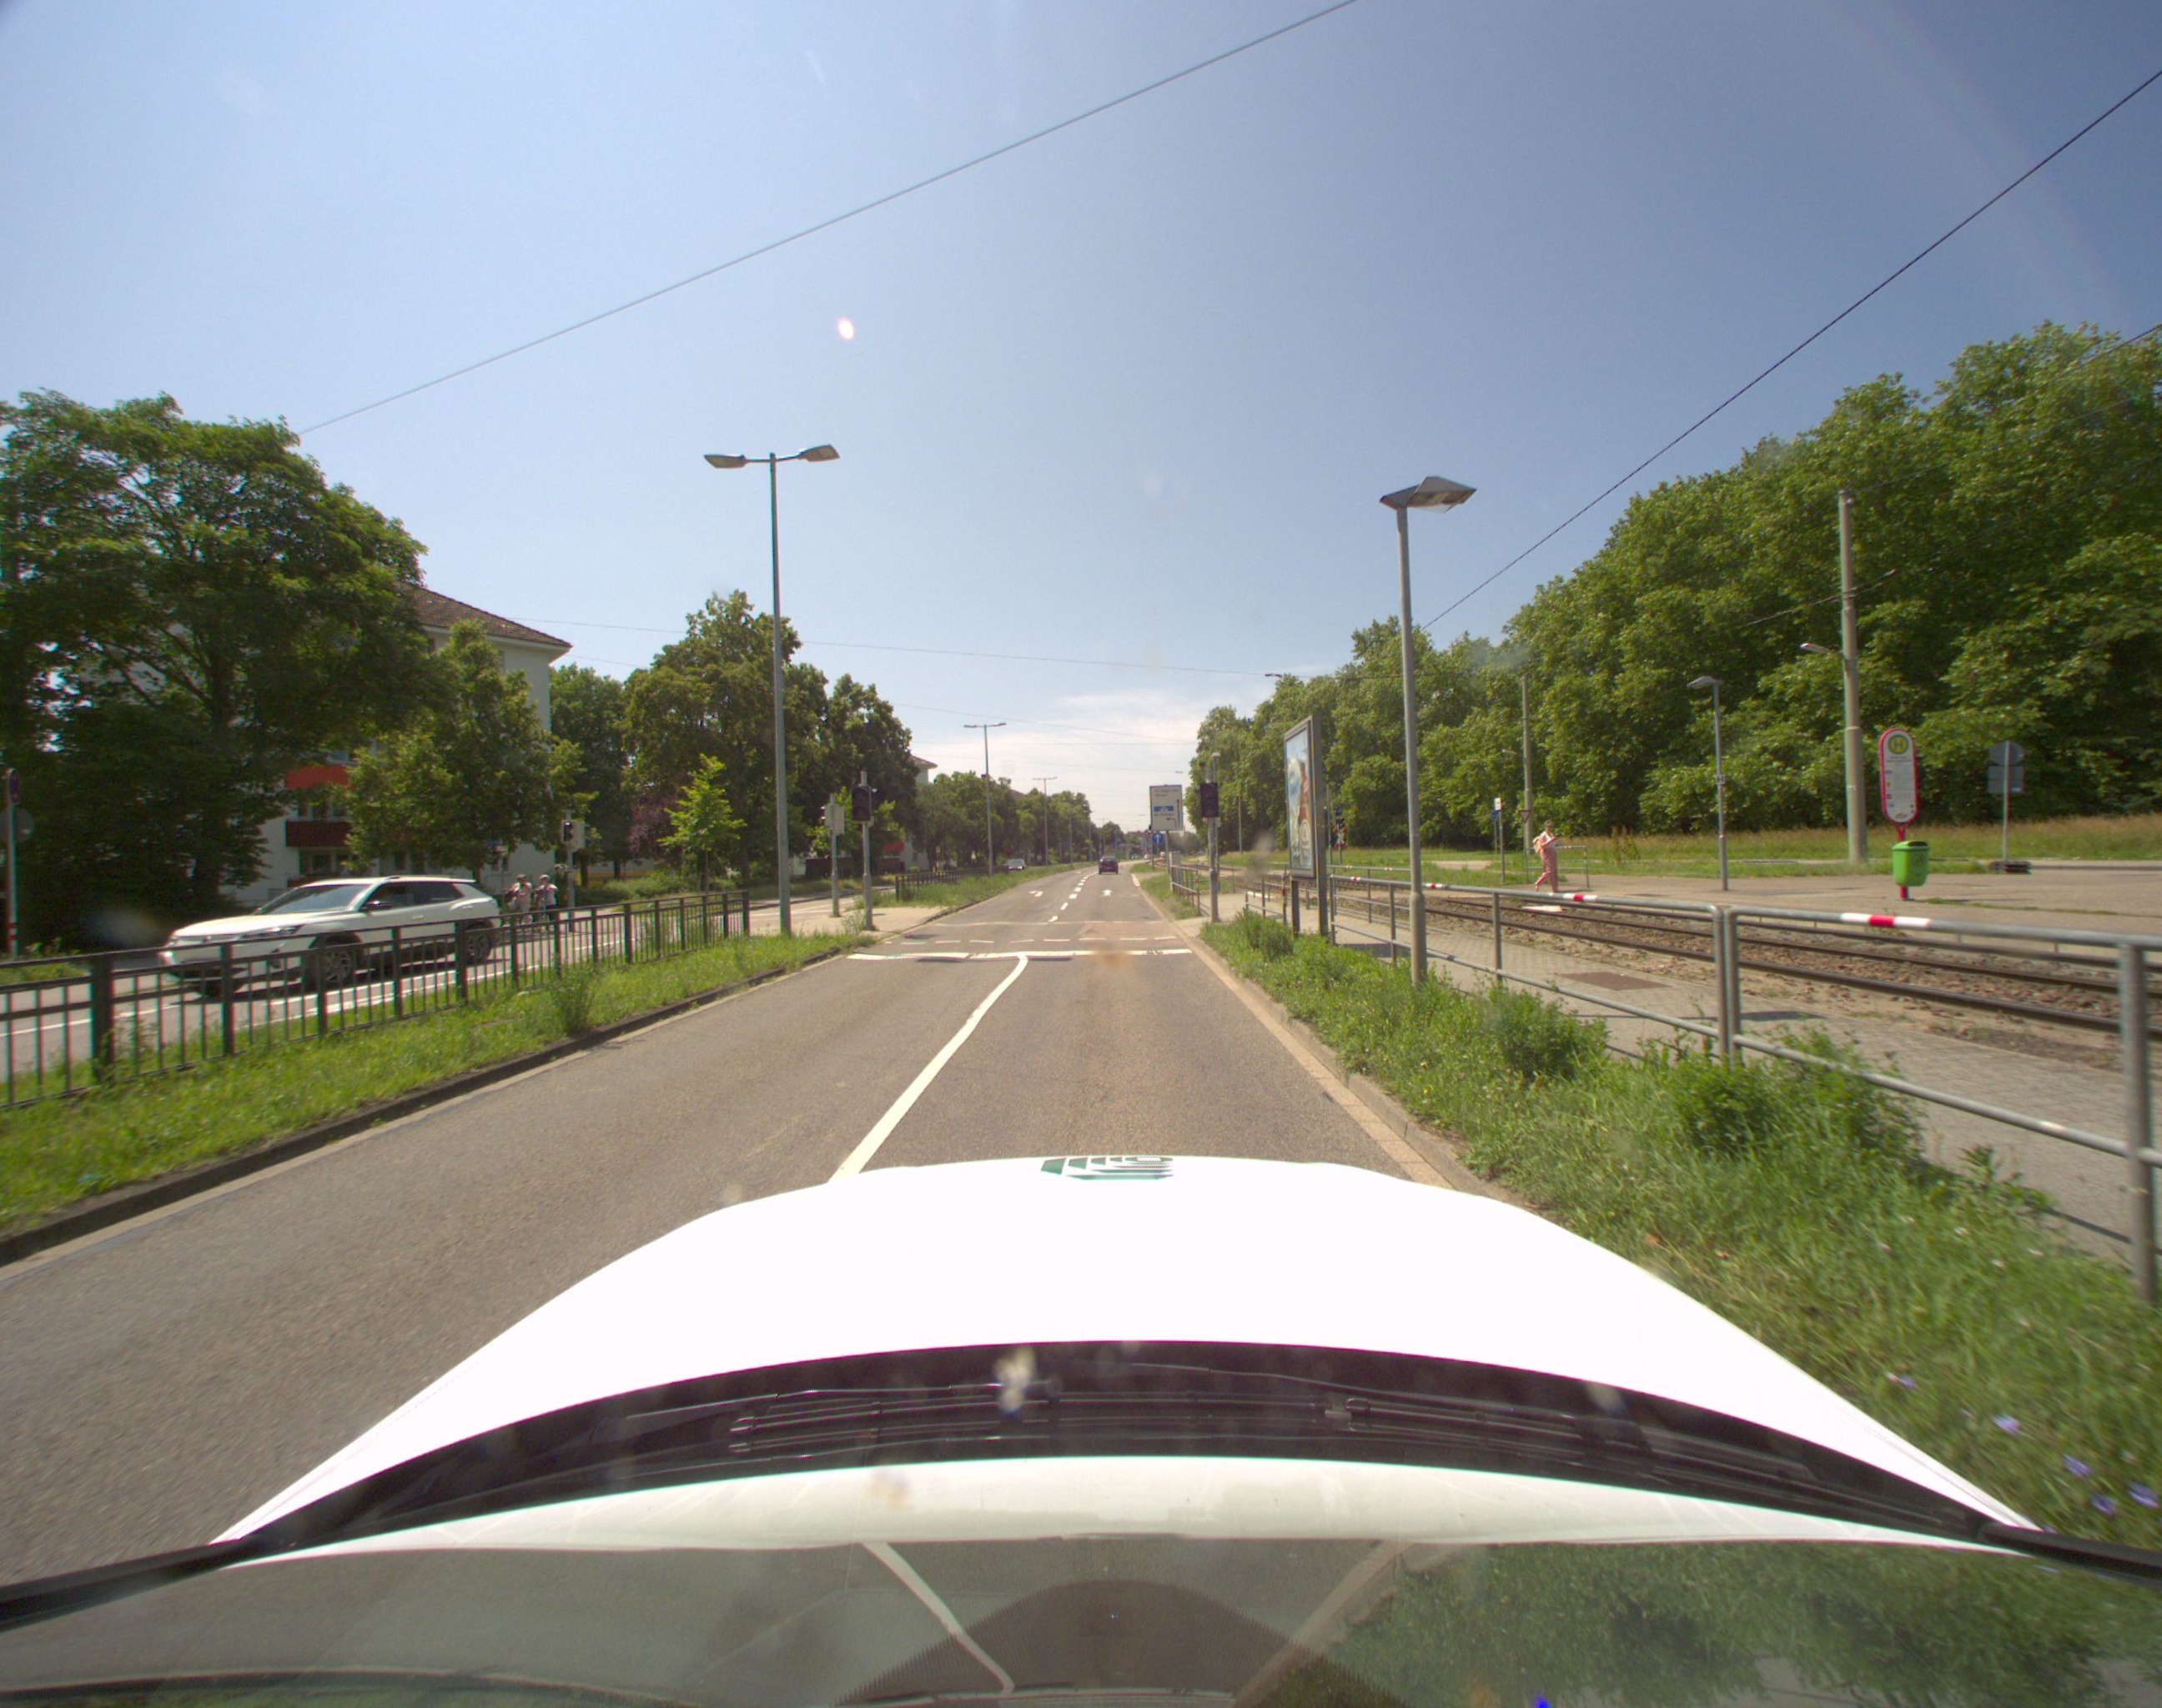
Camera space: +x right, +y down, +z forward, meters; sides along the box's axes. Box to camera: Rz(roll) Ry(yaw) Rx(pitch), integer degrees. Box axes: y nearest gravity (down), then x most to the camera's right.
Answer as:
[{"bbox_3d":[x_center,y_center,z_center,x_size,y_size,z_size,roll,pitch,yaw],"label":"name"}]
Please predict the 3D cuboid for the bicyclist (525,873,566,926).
[{"bbox_3d":[-14.467,1.218,22.012,0.543,1.346,0.755,-3,0,1],"label":"bicyclist"}]

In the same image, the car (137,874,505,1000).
[{"bbox_3d":[-11.726,1.166,13.093,1.815,1.572,4.346,-2,-1,0],"label":"car"}]

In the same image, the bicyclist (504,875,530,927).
[{"bbox_3d":[-15.298,1.266,22.099,0.356,1.392,0.441,-1,0,5],"label":"bicyclist"}]

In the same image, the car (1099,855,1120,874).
[{"bbox_3d":[2.412,0.904,68.481,1.696,1.477,3.719,-3,-1,3],"label":"car"}]

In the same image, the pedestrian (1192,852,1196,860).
[{"bbox_3d":[23.605,0.461,170.328,0.658,1.726,0.818,-2,-1,8],"label":"pedestrian"}]

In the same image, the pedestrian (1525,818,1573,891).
[{"bbox_3d":[11.531,0.006,20.089,0.635,1.759,0.813,0,-1,-11],"label":"pedestrian"}]

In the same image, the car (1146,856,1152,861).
[{"bbox_3d":[19.938,1.415,238.960,1.695,1.481,3.721,0,-1,4],"label":"car"}]

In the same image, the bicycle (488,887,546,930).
[{"bbox_3d":[-15.307,1.464,22.144,0.551,1.094,1.381,-1,-1,3],"label":"bicycle"}]

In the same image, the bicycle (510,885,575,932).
[{"bbox_3d":[-14.468,1.453,21.925,0.586,1.133,1.616,-3,0,2],"label":"bicycle"}]

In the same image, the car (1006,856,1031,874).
[{"bbox_3d":[-5.862,1.022,76.427,1.749,1.543,4.164,-3,0,3],"label":"car"}]
